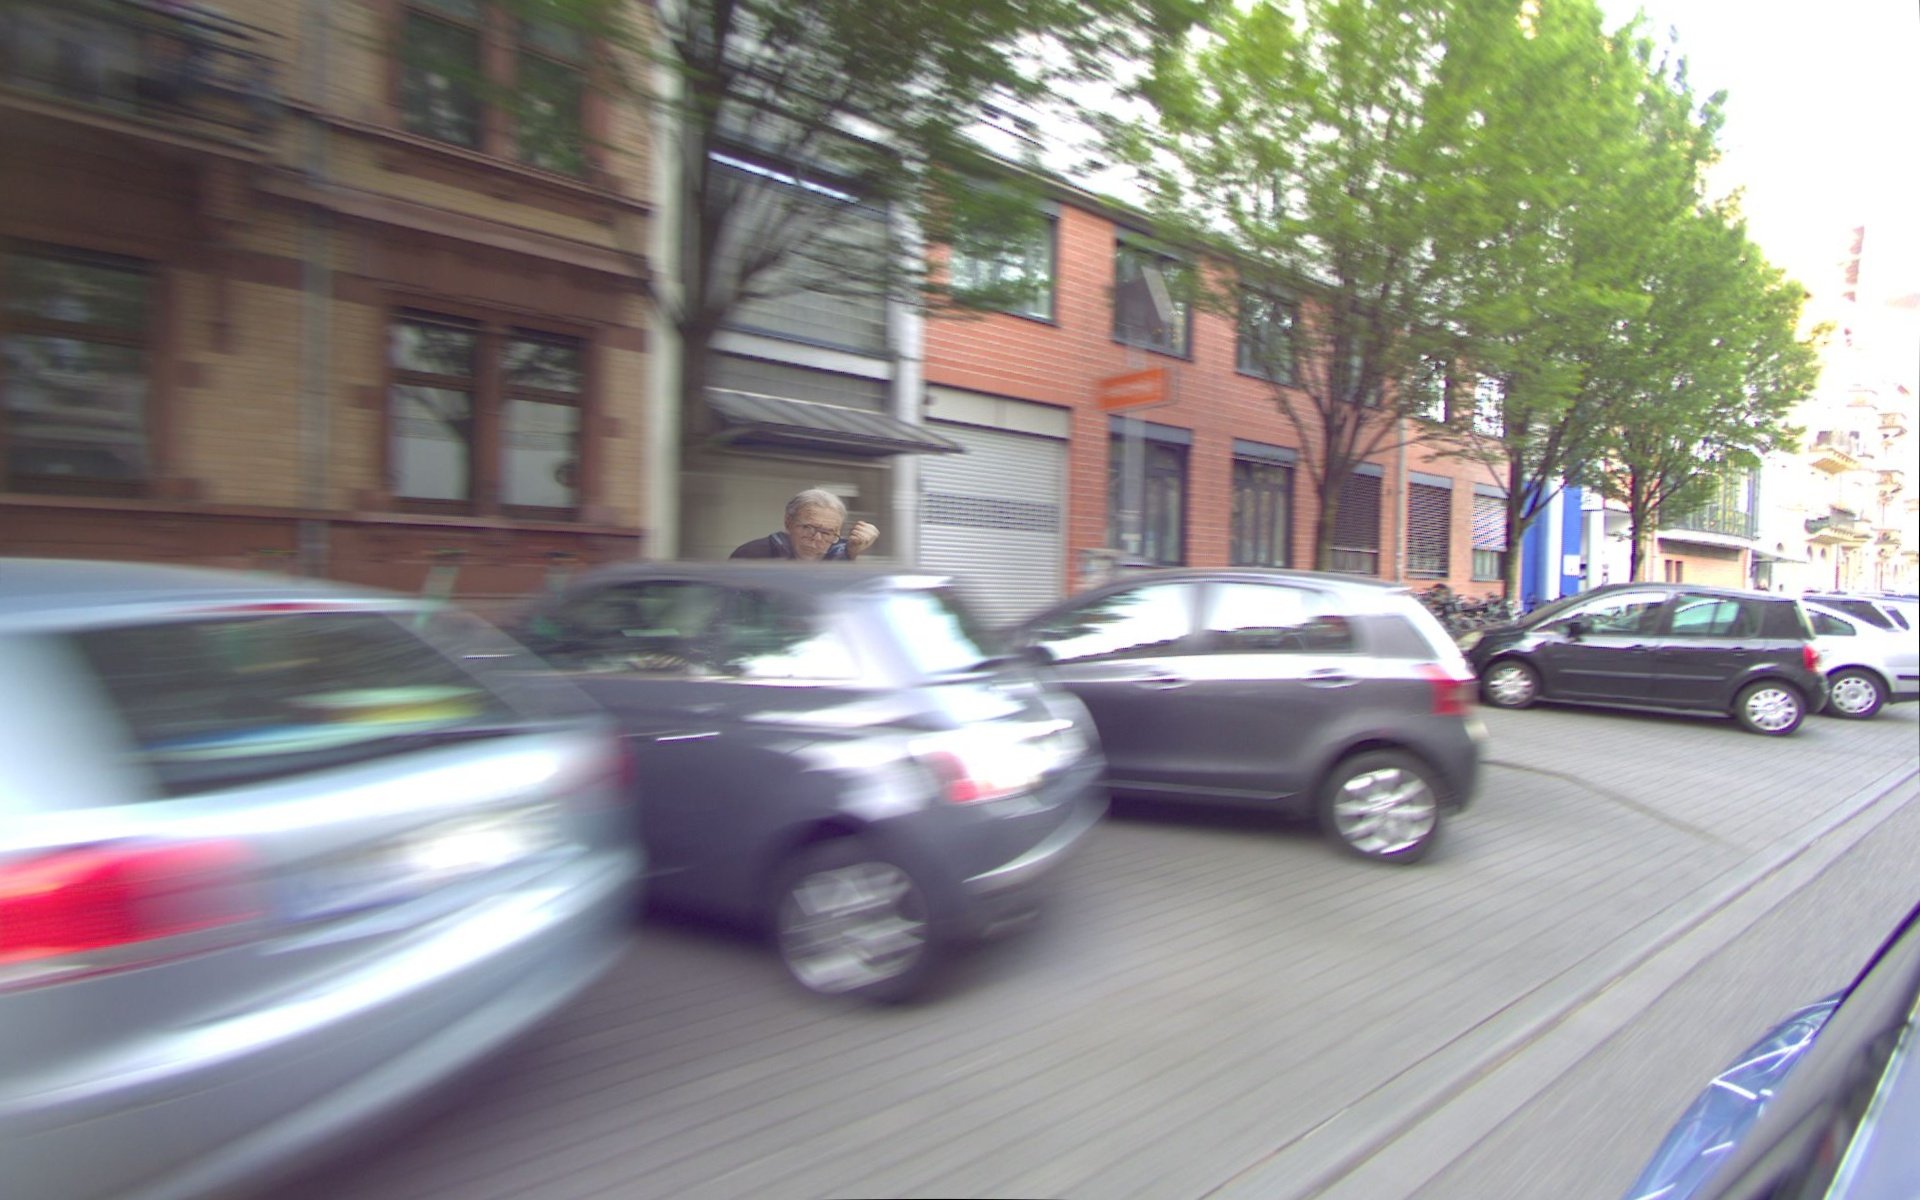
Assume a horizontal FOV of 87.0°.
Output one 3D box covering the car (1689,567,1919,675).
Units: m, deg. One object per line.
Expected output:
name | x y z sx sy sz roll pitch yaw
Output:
car | 15.991 0.350 18.607 3.794 1.668 1.665 4 4 24

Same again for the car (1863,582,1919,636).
car | 30.145 0.347 30.705 3.812 1.536 1.657 5 4 35

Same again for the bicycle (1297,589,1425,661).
bicycle | 6.343 0.370 16.098 1.766 0.937 0.537 8 6 44

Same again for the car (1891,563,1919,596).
car | 47.794 -0.899 48.830 3.792 1.536 1.666 4 4 23

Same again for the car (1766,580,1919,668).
car | 18.678 0.494 20.031 3.786 1.536 1.669 4 4 19

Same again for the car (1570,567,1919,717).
car | 10.418 0.470 13.266 3.790 1.584 1.667 4 4 21

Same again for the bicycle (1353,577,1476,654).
bicycle | 7.746 0.235 17.317 1.766 1.113 0.537 8 6 44

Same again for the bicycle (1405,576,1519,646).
bicycle | 9.419 0.187 19.035 1.766 1.113 0.537 8 6 44

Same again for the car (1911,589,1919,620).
car | 50.238 0.374 50.325 3.792 1.536 1.666 4 4 23

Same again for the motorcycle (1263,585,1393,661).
motorcycle | 5.617 0.323 15.586 0.578 0.937 1.993 1 4 -26

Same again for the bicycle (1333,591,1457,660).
bicycle | 7.235 0.397 16.884 1.766 0.937 0.537 8 6 44

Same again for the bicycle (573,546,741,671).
bicycle | -3.334 0.054 11.026 2.009 1.179 0.573 5 3 33

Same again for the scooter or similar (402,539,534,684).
scooter or similar | -4.499 0.101 9.280 1.045 1.297 0.330 0 0 -2

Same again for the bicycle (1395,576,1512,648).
bicycle | 9.038 0.197 18.589 1.766 1.113 0.537 8 6 44

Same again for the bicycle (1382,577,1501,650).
bicycle | 8.600 0.213 18.128 1.766 1.113 0.537 8 6 44

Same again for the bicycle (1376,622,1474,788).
bicycle | 3.533 0.746 7.763 0.569 1.077 1.377 0 1 20

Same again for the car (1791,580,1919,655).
car | 22.181 0.435 23.665 3.792 1.536 1.666 4 4 23

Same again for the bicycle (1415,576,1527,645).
bicycle | 9.801 0.179 19.471 1.766 1.113 0.537 8 6 44

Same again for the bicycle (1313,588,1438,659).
bicycle | 6.751 0.362 16.515 1.766 0.937 0.537 8 6 44

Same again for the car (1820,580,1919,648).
car | 24.295 0.400 25.467 3.812 1.536 1.657 5 4 35

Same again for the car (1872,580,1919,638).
car | 28.301 0.343 28.333 3.812 1.536 1.657 5 4 35

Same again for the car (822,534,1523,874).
car | 1.208 0.452 6.381 3.751 1.536 1.641 4 3 19

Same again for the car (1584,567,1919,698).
car | 11.949 0.411 15.432 3.790 1.584 1.667 4 4 21

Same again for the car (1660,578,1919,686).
car | 14.066 0.486 16.662 3.790 1.447 1.667 4 4 21

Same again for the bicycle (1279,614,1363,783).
bicycle | 2.845 0.716 7.968 0.569 1.140 1.377 0 1 20

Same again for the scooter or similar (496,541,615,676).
scooter or similar | -3.966 0.074 9.957 1.044 1.297 0.330 0 0 -10

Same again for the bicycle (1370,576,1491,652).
bicycle | 8.203 0.221 17.696 1.766 1.113 0.537 8 6 44

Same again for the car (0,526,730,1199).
car | -2.668 0.549 2.679 3.587 1.438 1.820 4 3 19

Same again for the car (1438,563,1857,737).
car | 7.890 0.455 12.057 3.803 1.584 1.661 5 4 30

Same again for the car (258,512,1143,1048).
car | -1.164 0.472 4.538 3.592 1.536 1.612 4 3 23
